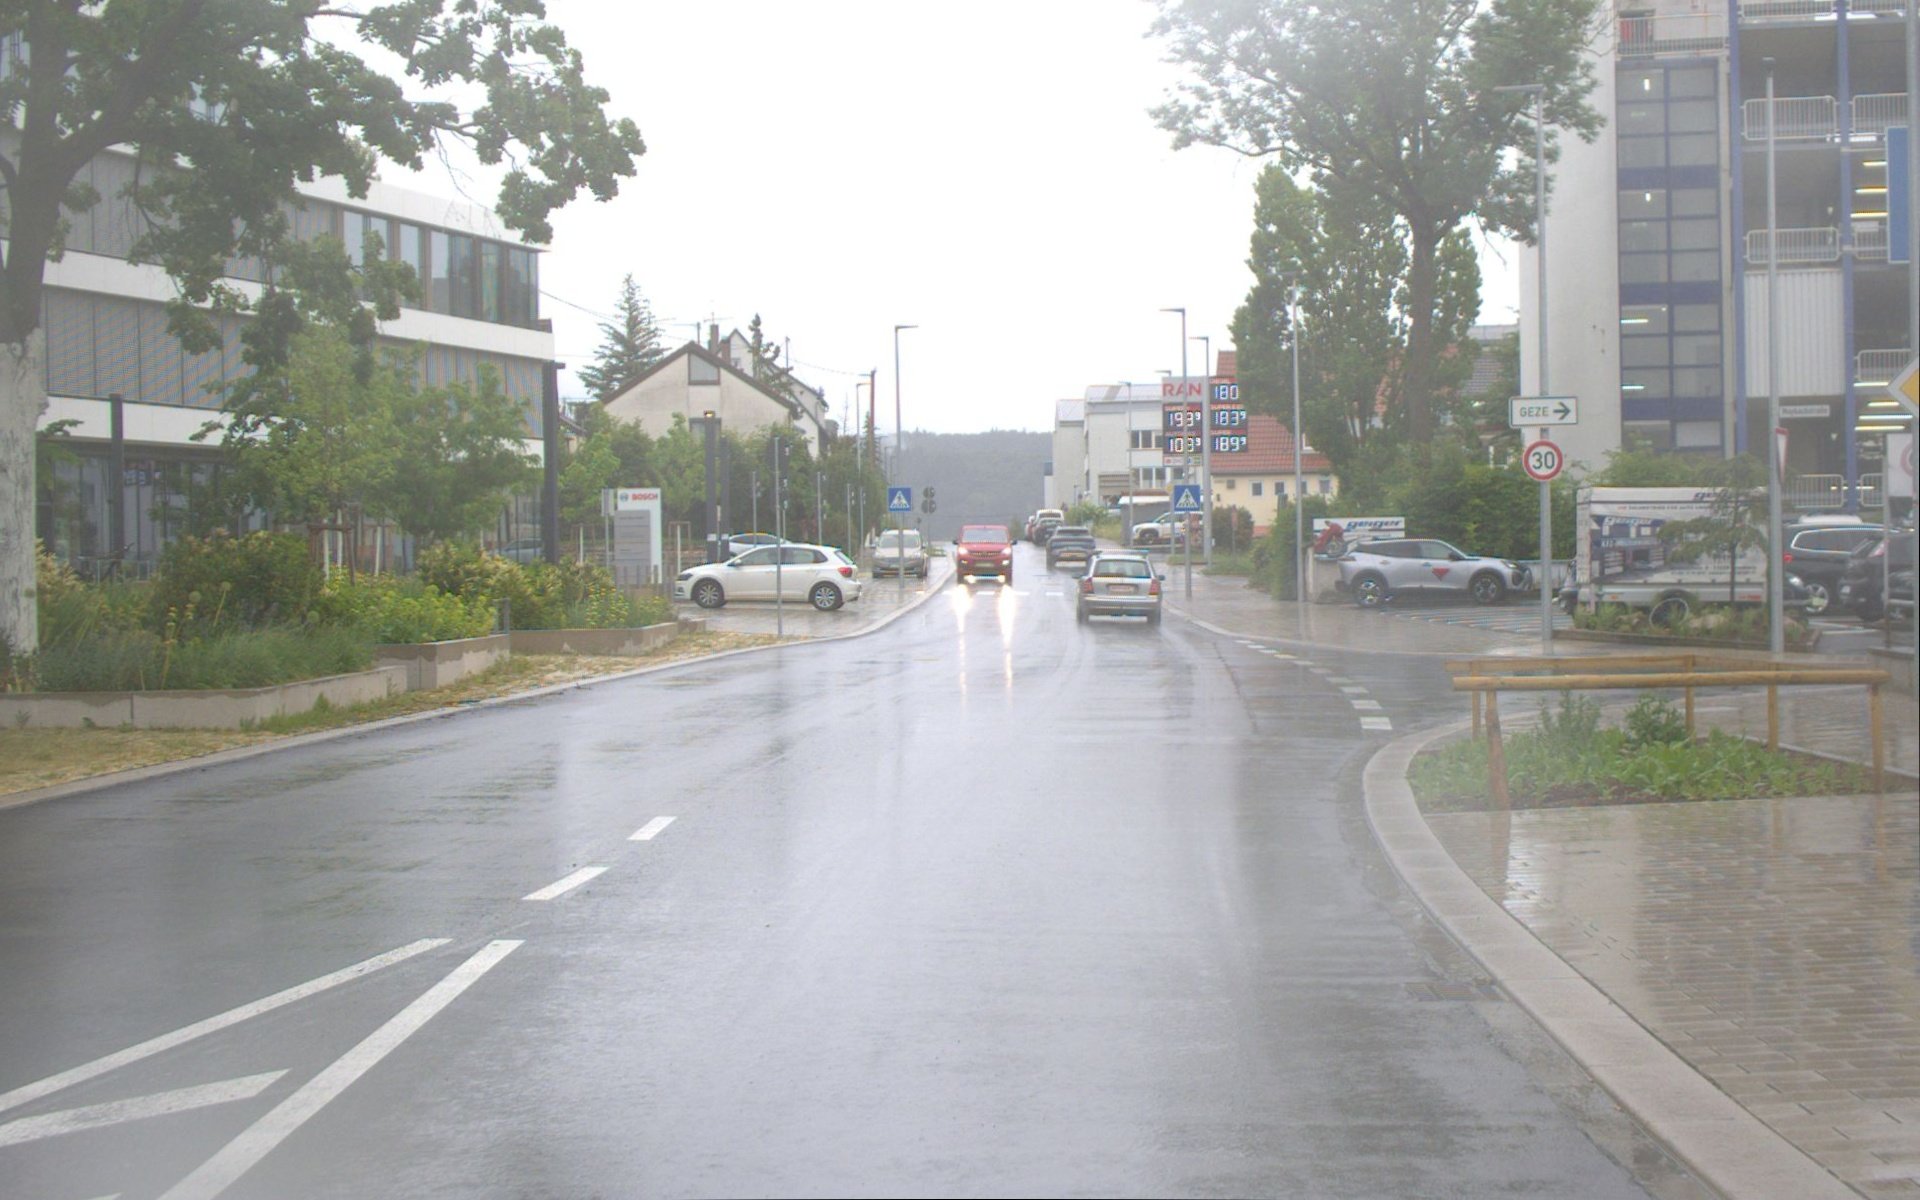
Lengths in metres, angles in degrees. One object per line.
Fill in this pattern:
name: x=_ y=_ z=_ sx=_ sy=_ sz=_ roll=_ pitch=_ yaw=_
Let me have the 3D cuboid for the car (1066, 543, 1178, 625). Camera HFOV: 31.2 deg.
car: x=3.326 y=-0.306 z=71.266 sx=1.948 sy=1.550 sz=4.000 roll=3 pitch=-1 yaw=-1

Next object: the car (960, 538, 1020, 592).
car: x=1.025 y=-1.209 z=117.689 sx=2.003 sy=1.811 sz=4.979 roll=0 pitch=1 yaw=0

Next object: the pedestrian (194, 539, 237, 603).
pedestrian: x=-20.036 y=-0.793 z=92.549 sx=1.013 sy=1.718 sz=0.772 roll=0 pitch=1 yaw=-1

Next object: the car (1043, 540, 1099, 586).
car: x=4.500 y=-1.492 z=139.880 sx=2.154 sy=1.700 sz=4.000 roll=3 pitch=-1 yaw=1

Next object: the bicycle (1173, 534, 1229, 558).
bicycle: x=11.389 y=-2.553 z=162.787 sx=0.668 sy=1.063 sz=3.629 roll=4 pitch=-1 yaw=-30

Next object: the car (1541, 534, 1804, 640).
car: x=11.080 y=-0.192 z=53.621 sx=3.726 sy=1.524 sz=1.650 roll=-2 pitch=0 yaw=1

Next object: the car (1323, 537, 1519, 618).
car: x=10.399 y=-0.500 z=77.425 sx=4.209 sy=1.644 sz=1.999 roll=-2 pitch=0 yaw=11

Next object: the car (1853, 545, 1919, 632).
car: x=15.859 y=-0.196 z=52.979 sx=3.725 sy=1.311 sz=1.693 roll=-1 pitch=1 yaw=-2

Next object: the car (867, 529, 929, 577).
car: x=-2.150 y=-1.646 z=119.973 sx=1.993 sy=1.623 sz=4.153 roll=-1 pitch=1 yaw=1

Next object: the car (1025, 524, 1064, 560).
car: x=4.549 y=-3.118 z=185.261 sx=1.993 sy=1.700 sz=4.000 roll=3 pitch=-1 yaw=1

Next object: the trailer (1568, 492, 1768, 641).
trailer: x=10.485 y=-0.504 z=51.041 sx=2.702 sy=2.164 sz=1.548 roll=0 pitch=1 yaw=3

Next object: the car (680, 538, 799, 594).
car: x=-9.125 y=-1.406 z=142.302 sx=4.752 sy=2.007 sz=2.000 roll=3 pitch=-1 yaw=-5

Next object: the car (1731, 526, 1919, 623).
car: x=15.925 y=-0.466 z=60.294 sx=4.355 sy=1.646 sz=1.845 roll=-1 pitch=1 yaw=-1

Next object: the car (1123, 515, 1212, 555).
car: x=10.201 y=-3.207 z=169.311 sx=4.112 sy=1.700 sz=1.789 roll=3 pitch=-1 yaw=-2

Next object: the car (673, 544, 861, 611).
car: x=-4.181 y=-0.500 z=74.993 sx=3.928 sy=1.418 sz=1.898 roll=0 pitch=1 yaw=2

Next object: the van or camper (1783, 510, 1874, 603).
van or camper: x=19.508 y=-0.978 z=77.357 sx=1.839 sy=2.029 sz=4.459 roll=0 pitch=1 yaw=13
